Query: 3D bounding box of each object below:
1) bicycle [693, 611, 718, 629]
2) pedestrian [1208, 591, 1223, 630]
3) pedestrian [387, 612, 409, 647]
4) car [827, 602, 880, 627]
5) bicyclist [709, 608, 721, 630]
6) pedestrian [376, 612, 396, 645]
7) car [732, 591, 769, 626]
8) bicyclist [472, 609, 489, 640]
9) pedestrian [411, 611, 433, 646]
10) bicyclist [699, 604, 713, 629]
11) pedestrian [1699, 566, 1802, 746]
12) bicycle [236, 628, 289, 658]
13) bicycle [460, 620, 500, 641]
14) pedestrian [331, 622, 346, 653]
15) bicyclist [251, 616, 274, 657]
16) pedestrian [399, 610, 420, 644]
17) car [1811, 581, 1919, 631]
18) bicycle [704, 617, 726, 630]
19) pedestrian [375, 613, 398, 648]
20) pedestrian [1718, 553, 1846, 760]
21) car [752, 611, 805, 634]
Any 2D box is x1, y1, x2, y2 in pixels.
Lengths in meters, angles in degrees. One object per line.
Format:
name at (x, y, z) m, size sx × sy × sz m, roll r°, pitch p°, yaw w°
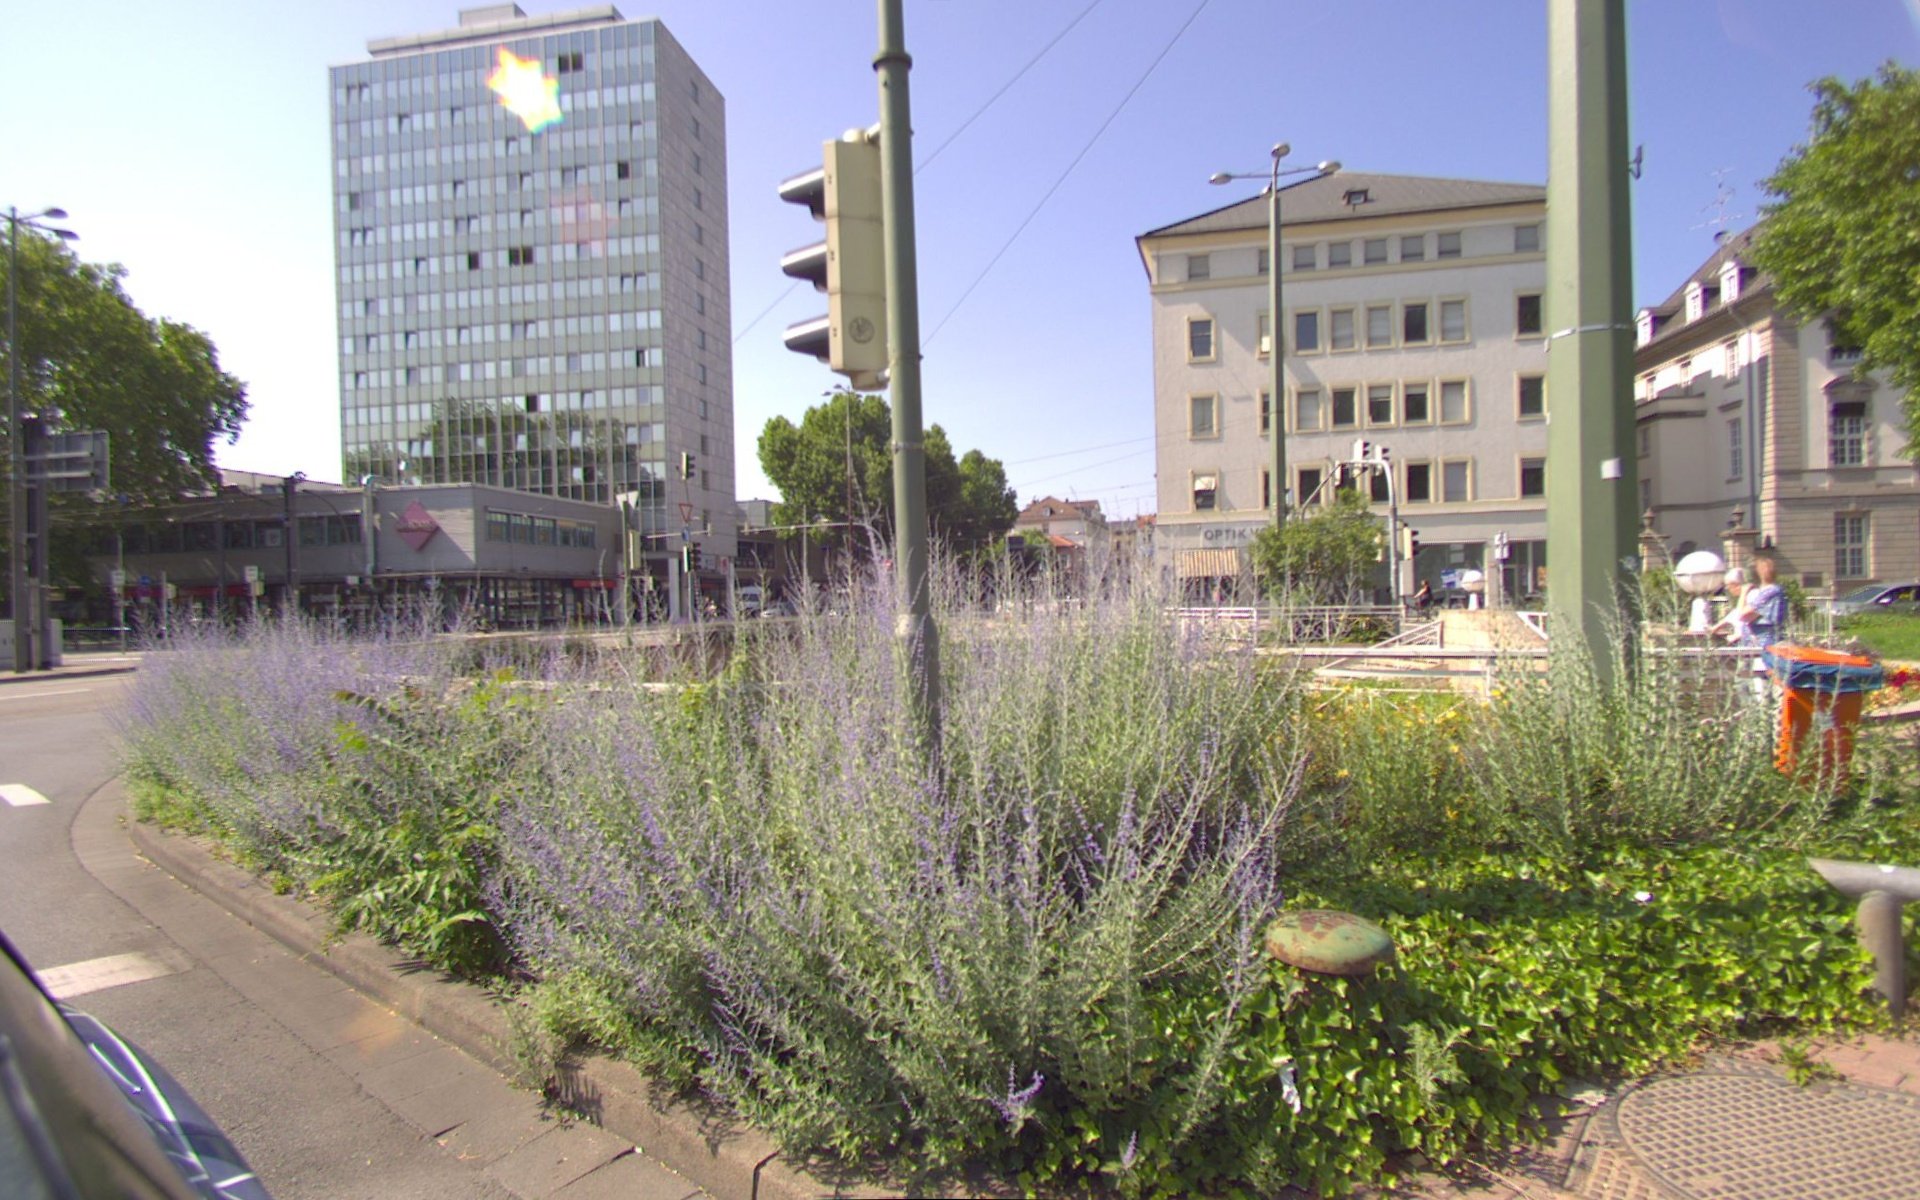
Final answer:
bicycle at (-18.598, 1.454, 73.986) m, size 0.713 × 1.309 × 1.922 m, roll 0°, pitch 1°, yaw 27°
pedestrian at (11.790, 0.482, 46.770) m, size 0.635 × 1.772 × 0.592 m, roll -1°, pitch -1°, yaw 13°
pedestrian at (-29.931, 1.553, 53.897) m, size 0.664 × 1.850 × 0.821 m, roll -1°, pitch -1°, yaw 10°
car at (-7.306, 0.997, 69.979) m, size 1.871 × 1.545 × 4.047 m, roll -2°, pitch 0°, yaw 23°
bicyclist at (-17.423, 1.360, 72.030) m, size 0.578 × 1.538 × 0.679 m, roll 0°, pitch 0°, yaw 21°
pedestrian at (-31.973, 1.560, 56.359) m, size 0.811 × 1.820 × 0.672 m, roll 0°, pitch -1°, yaw -42°
car at (-18.129, 0.702, 87.757) m, size 1.727 × 2.938 × 4.625 m, roll -2°, pitch 0°, yaw 7°
bicyclist at (-27.171, 1.388, 57.350) m, size 0.583 × 1.700 × 0.675 m, roll -2°, pitch 0°, yaw 41°
pedestrian at (-28.945, 1.544, 54.448) m, size 0.663 × 1.850 × 0.821 m, roll -1°, pitch -1°, yaw 9°
bicyclist at (-18.590, 1.215, 74.015) m, size 0.694 × 1.781 × 0.678 m, roll 0°, pitch 0°, yaw 27°
pedestrian at (7.004, 0.473, 8.998) m, size 0.472 × 1.522 × 0.845 m, roll -2°, pitch 0°, yaw 22°
bicycle at (-29.630, 1.812, 43.020) m, size 0.521 × 1.175 × 1.793 m, roll -1°, pitch -1°, yaw 37°
bicycle at (-27.189, 1.704, 57.337) m, size 0.576 × 1.110 × 1.943 m, roll -2°, pitch 0°, yaw 40°
pedestrian at (-33.519, 2.004, 54.568) m, size 0.589 × 1.650 × 0.567 m, roll -1°, pitch -1°, yaw -24°
bicyclist at (-29.641, 1.534, 43.017) m, size 0.521 × 1.719 × 0.675 m, roll -1°, pitch -1°, yaw 37°
pedestrian at (-30.325, 1.505, 55.769) m, size 0.671 × 1.850 × 0.812 m, roll -1°, pitch -1°, yaw 41°
car at (26.261, 0.135, 28.162) m, size 3.546 × 1.278 × 1.606 m, roll -2°, pitch 0°, yaw 11°
bicycle at (-17.414, 1.684, 72.042) m, size 0.588 × 0.889 × 1.798 m, roll 0°, pitch 1°, yaw 21°
pedestrian at (-30.704, 1.605, 54.154) m, size 0.727 × 1.850 × 0.821 m, roll -1°, pitch -1°, yaw 10°
pedestrian at (6.706, 0.444, 8.289) m, size 0.596 × 1.605 × 0.687 m, roll -2°, pitch 0°, yaw 23°
car at (-13.207, 1.628, 73.952) m, size 1.871 × 1.471 × 4.132 m, roll -2°, pitch 0°, yaw 23°
